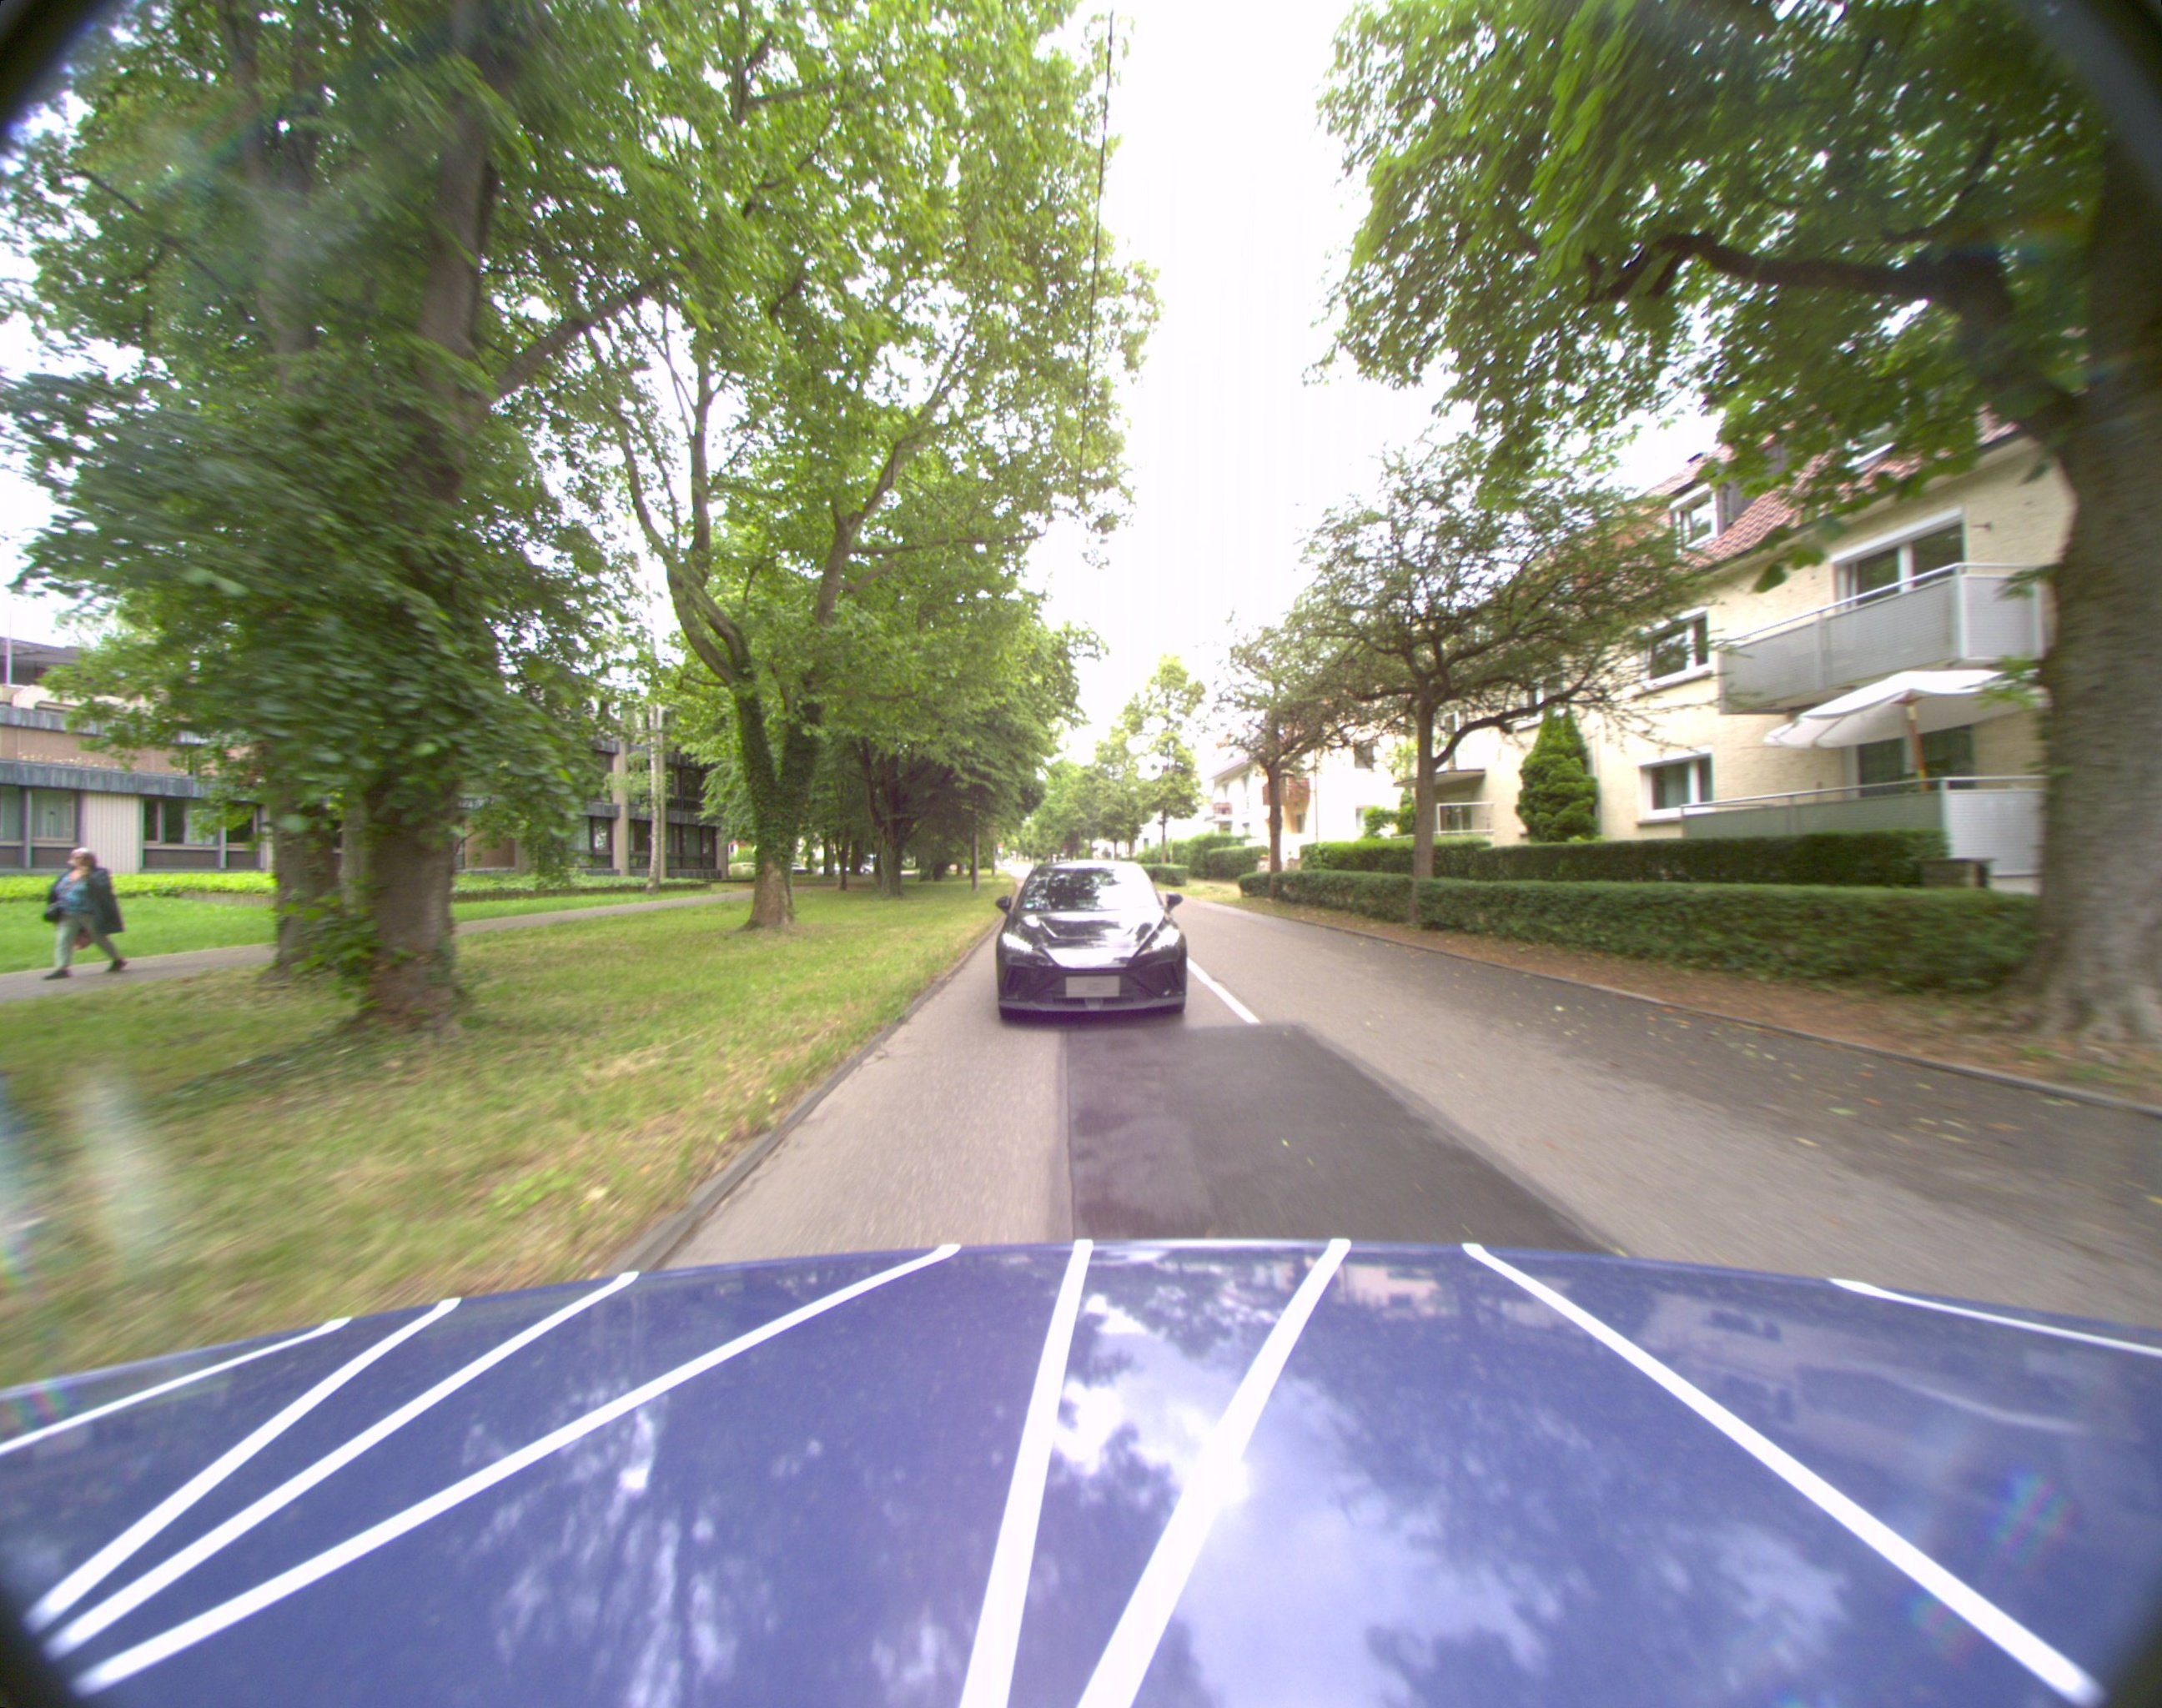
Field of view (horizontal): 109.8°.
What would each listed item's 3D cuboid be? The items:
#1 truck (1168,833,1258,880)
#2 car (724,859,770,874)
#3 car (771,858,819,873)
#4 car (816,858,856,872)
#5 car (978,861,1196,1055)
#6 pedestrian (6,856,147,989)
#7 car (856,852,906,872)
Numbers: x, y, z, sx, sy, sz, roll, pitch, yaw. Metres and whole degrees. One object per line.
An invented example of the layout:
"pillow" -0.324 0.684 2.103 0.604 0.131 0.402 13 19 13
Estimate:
"truck" 9.431 0.187 54.397 5.814 3.112 2.516 -1 0 -6
"car" -34.615 1.277 78.903 1.795 1.501 4.009 -2 -1 37
"car" -31.329 1.268 83.191 1.795 1.501 4.614 -2 -1 39
"car" -27.986 1.291 86.870 1.795 1.501 4.008 -2 -1 45
"car" 0.063 0.913 8.714 1.799 1.552 4.471 -2 0 0
"pedestrian" -13.245 0.871 10.051 0.770 1.676 0.814 0 0 -4
"car" -23.913 0.934 90.984 5.337 2.285 2.286 0 -1 -39
